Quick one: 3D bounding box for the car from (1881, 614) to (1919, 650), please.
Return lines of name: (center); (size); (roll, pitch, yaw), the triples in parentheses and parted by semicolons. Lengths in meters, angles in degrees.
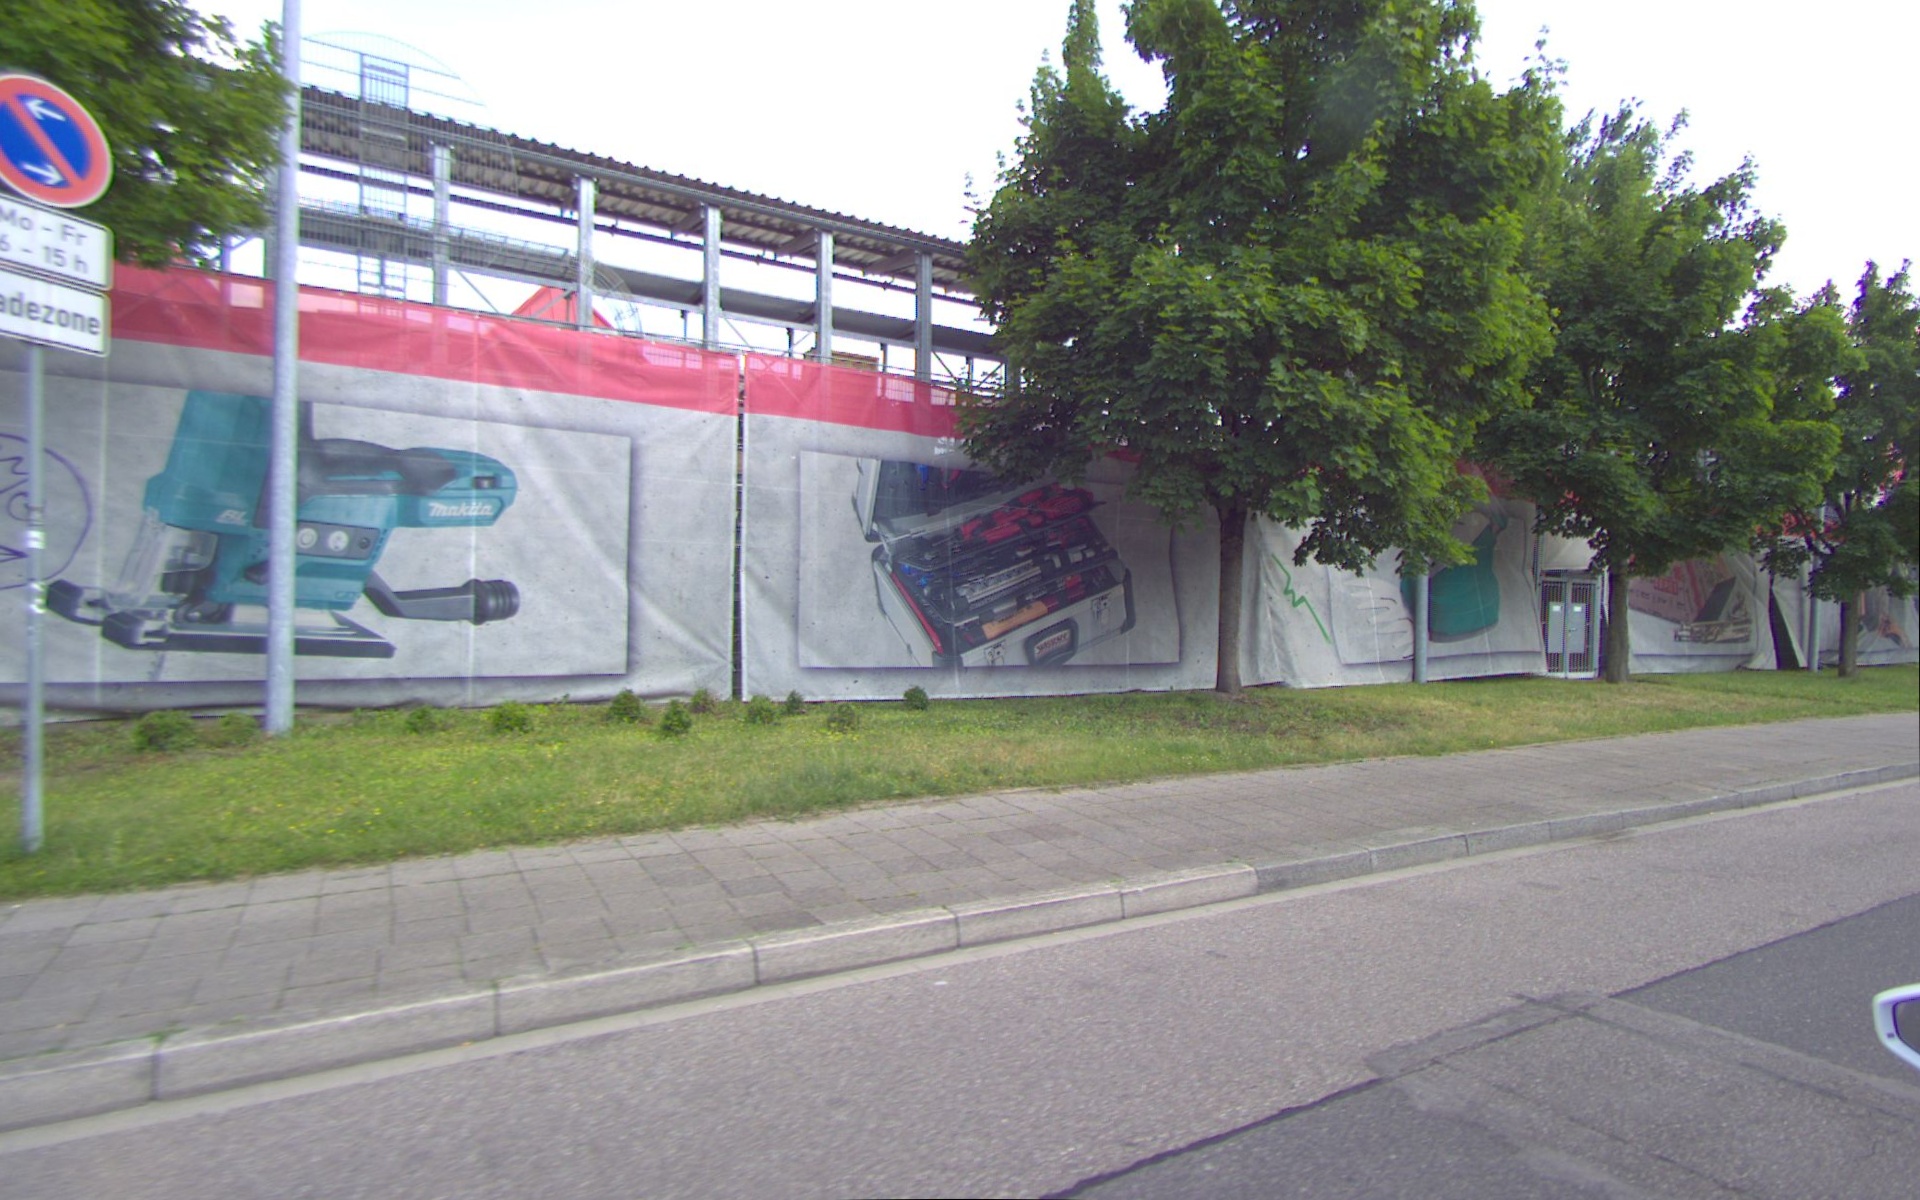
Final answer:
car: (41.584, 1.405, 41.607); (1.930, 1.473, 4.664); (1, 1, -28)
